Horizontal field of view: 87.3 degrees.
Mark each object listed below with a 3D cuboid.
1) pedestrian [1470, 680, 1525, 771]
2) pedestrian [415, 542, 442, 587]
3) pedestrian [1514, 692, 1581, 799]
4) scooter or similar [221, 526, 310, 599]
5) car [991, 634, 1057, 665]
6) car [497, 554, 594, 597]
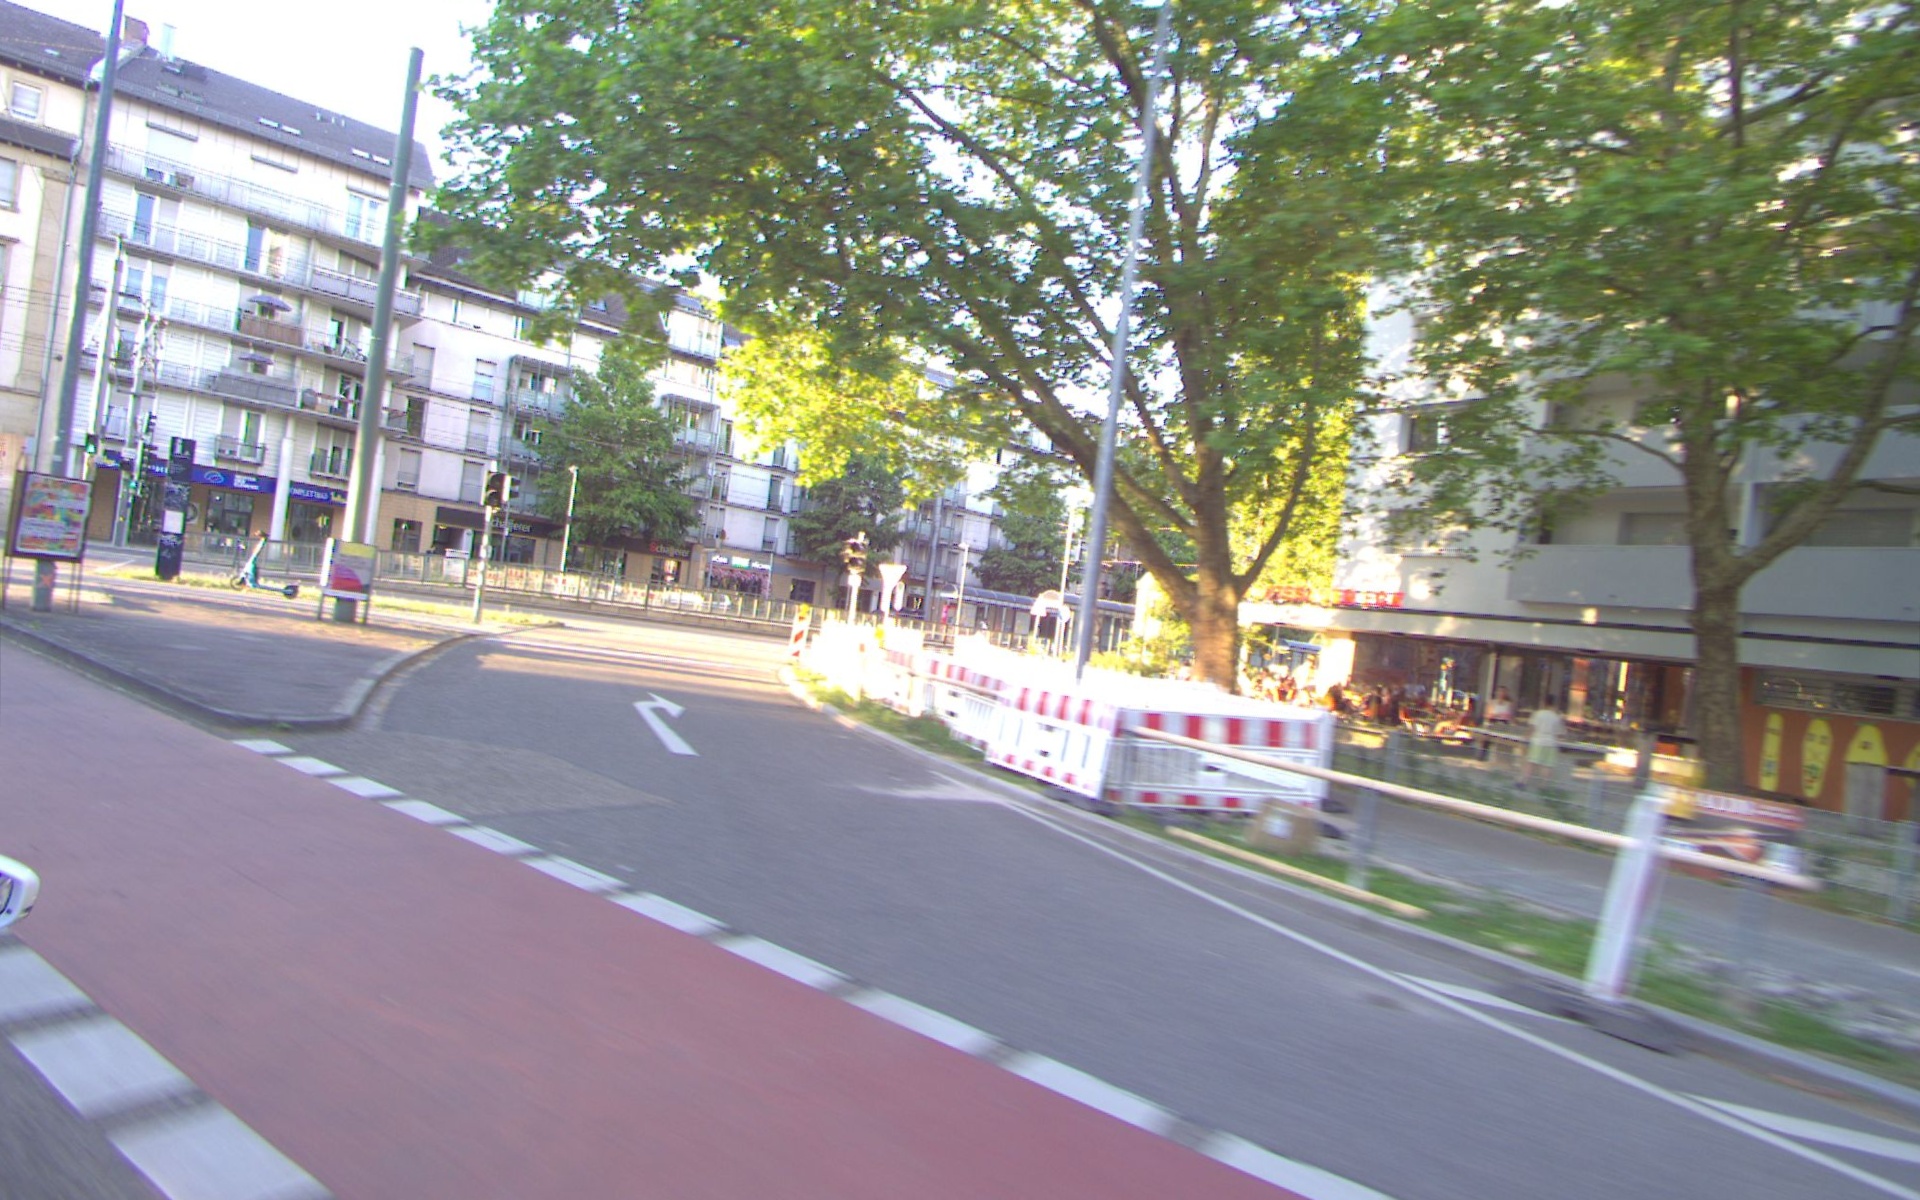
[{"bbox_3d":[10.276,2.391,19.245,0.733,1.607,0.641,7,-1,25],"label":"pedestrian"},{"bbox_3d":[-27.617,-1.846,52.306,0.864,2.234,0.812,8,-1,-39],"label":"pedestrian"},{"bbox_3d":[9.562,2.348,16.403,0.733,1.607,0.641,7,-1,25],"label":"pedestrian"},{"bbox_3d":[-13.765,-0.729,19.961,1.217,1.263,0.513,8,-1,-19],"label":"scooter or similar"},{"bbox_3d":[4.249,3.281,66.932,3.965,1.503,1.833,9,-3,-34],"label":"car"},{"bbox_3d":[-20.289,-1.189,49.299,3.971,1.503,1.830,9,-3,-39],"label":"car"}]
